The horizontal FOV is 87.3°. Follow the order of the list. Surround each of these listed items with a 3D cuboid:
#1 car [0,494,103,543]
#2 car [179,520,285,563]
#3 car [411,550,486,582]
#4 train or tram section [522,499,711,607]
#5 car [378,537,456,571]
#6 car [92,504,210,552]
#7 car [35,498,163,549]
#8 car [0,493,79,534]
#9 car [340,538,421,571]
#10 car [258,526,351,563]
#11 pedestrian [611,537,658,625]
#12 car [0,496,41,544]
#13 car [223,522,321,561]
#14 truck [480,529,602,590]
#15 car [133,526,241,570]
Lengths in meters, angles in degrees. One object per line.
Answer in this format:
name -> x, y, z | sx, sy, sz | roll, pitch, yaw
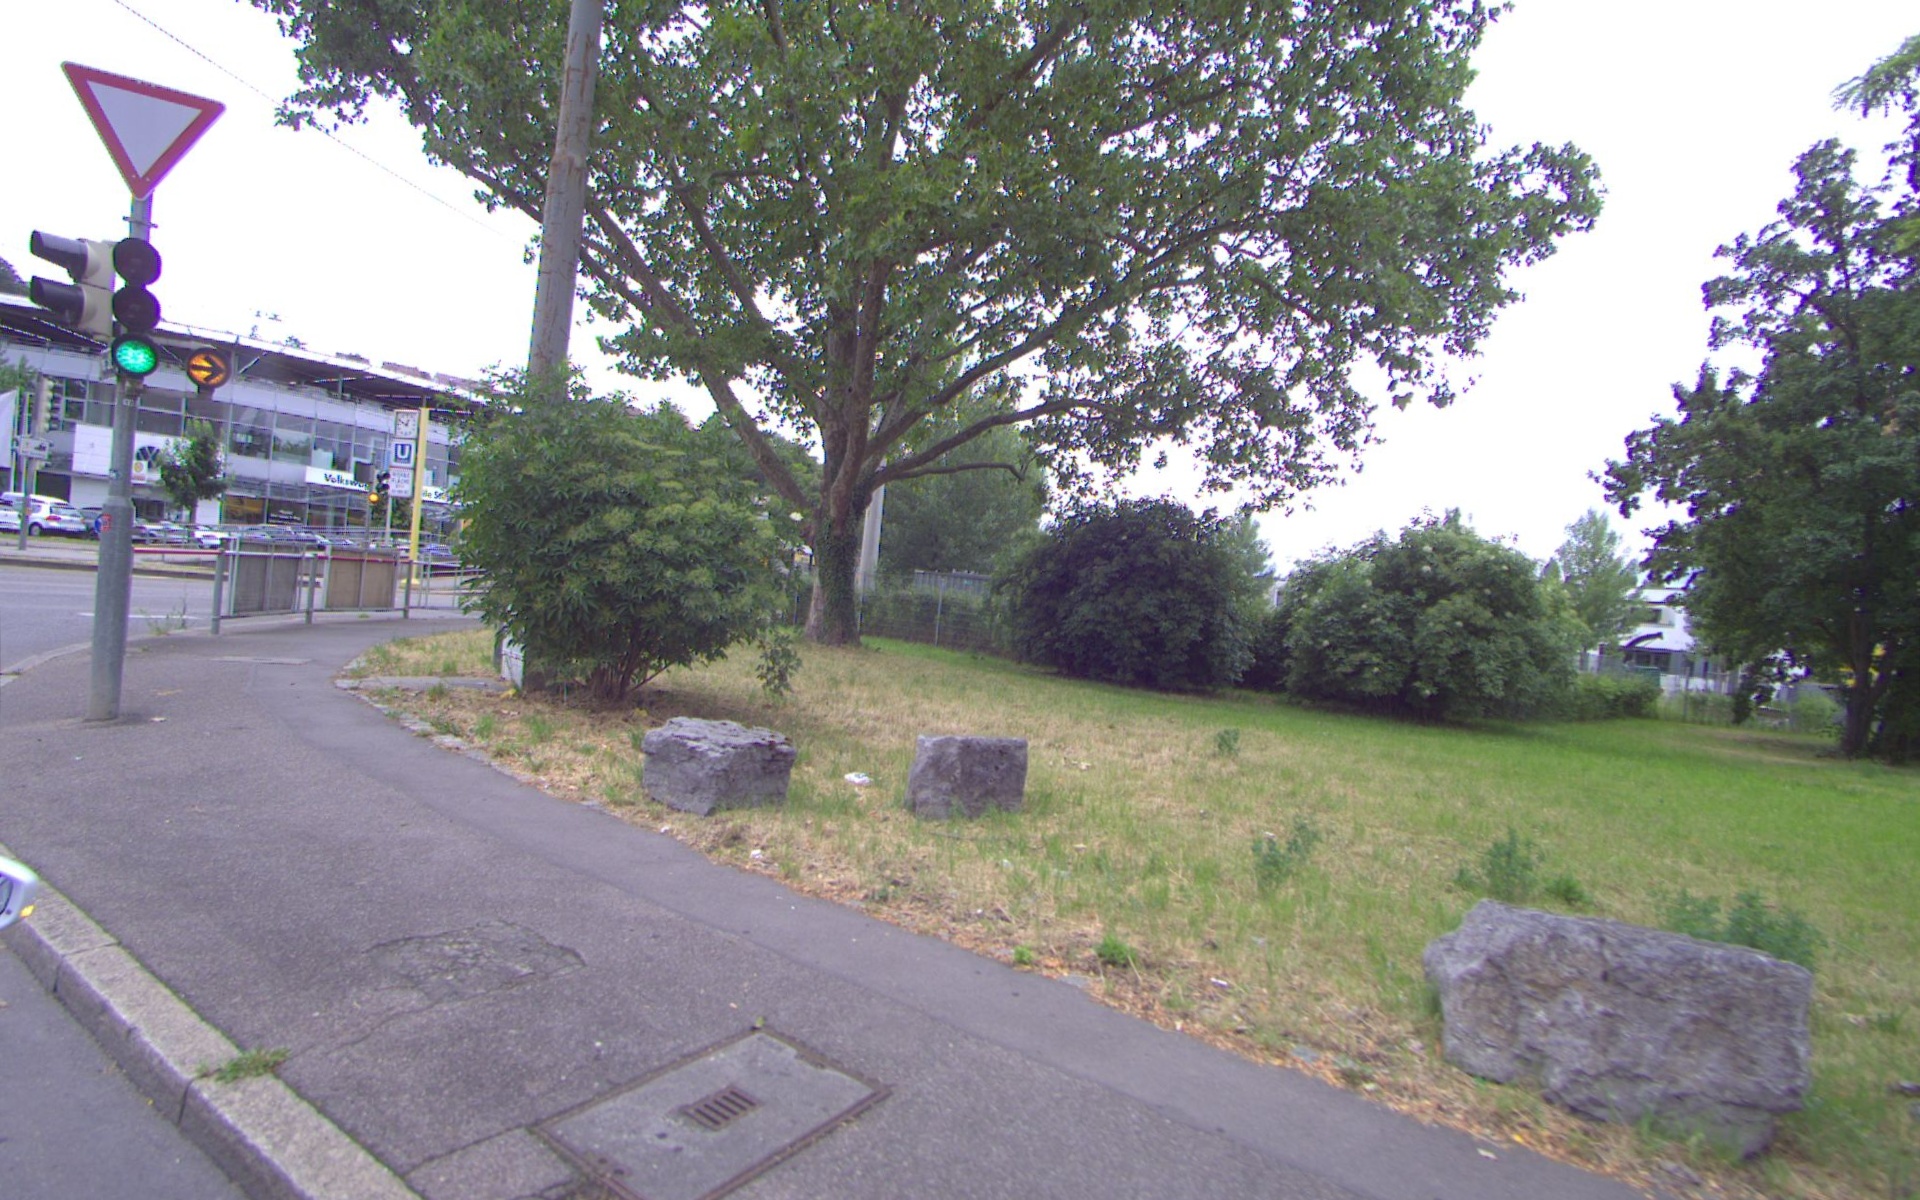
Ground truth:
car -> -38.570, -3.462, 42.046 | 3.924, 1.493, 1.818 | 6, -3, 4
car -> -37.305, -2.985, 51.604 | 3.924, 1.571, 1.931 | 6, -3, 4
car -> -33.903, -2.252, 66.725 | 3.923, 1.571, 1.931 | 5, -4, 13
train or tram section -> -15.232, -1.846, 46.144 | 2.697, 4.017, 11.913 | 6, 0, 9
car -> -34.623, -2.920, 64.213 | 3.923, 1.571, 1.931 | 5, -4, 13
car -> -37.709, -3.324, 46.951 | 3.924, 1.571, 1.931 | 6, -3, 4
car -> -38.079, -3.385, 44.544 | 3.924, 1.571, 1.931 | 6, -3, 4
car -> -47.980, -4.510, 51.421 | 3.928, 1.571, 1.929 | 7, -3, -4
car -> -35.379, -2.782, 61.464 | 3.923, 1.574, 1.927 | 5, 1, 13
car -> -36.668, -3.093, 56.304 | 3.924, 1.574, 1.927 | 6, 1, 4
pedestrian -> -7.246, -0.411, 22.423 | 0.593, 1.890, 0.672 | 6, 0, 10
car -> -39.109, -3.351, 39.605 | 3.924, 1.658, 2.004 | 6, -3, 4
car -> -36.815, -3.092, 53.884 | 3.924, 1.574, 1.927 | 6, 1, 4
truck -> -27.095, -2.539, 65.647 | 2.651, 3.116, 9.012 | 6, -1, 11
car -> -37.925, -2.529, 49.391 | 3.924, 1.571, 1.732 | 6, -3, 4
